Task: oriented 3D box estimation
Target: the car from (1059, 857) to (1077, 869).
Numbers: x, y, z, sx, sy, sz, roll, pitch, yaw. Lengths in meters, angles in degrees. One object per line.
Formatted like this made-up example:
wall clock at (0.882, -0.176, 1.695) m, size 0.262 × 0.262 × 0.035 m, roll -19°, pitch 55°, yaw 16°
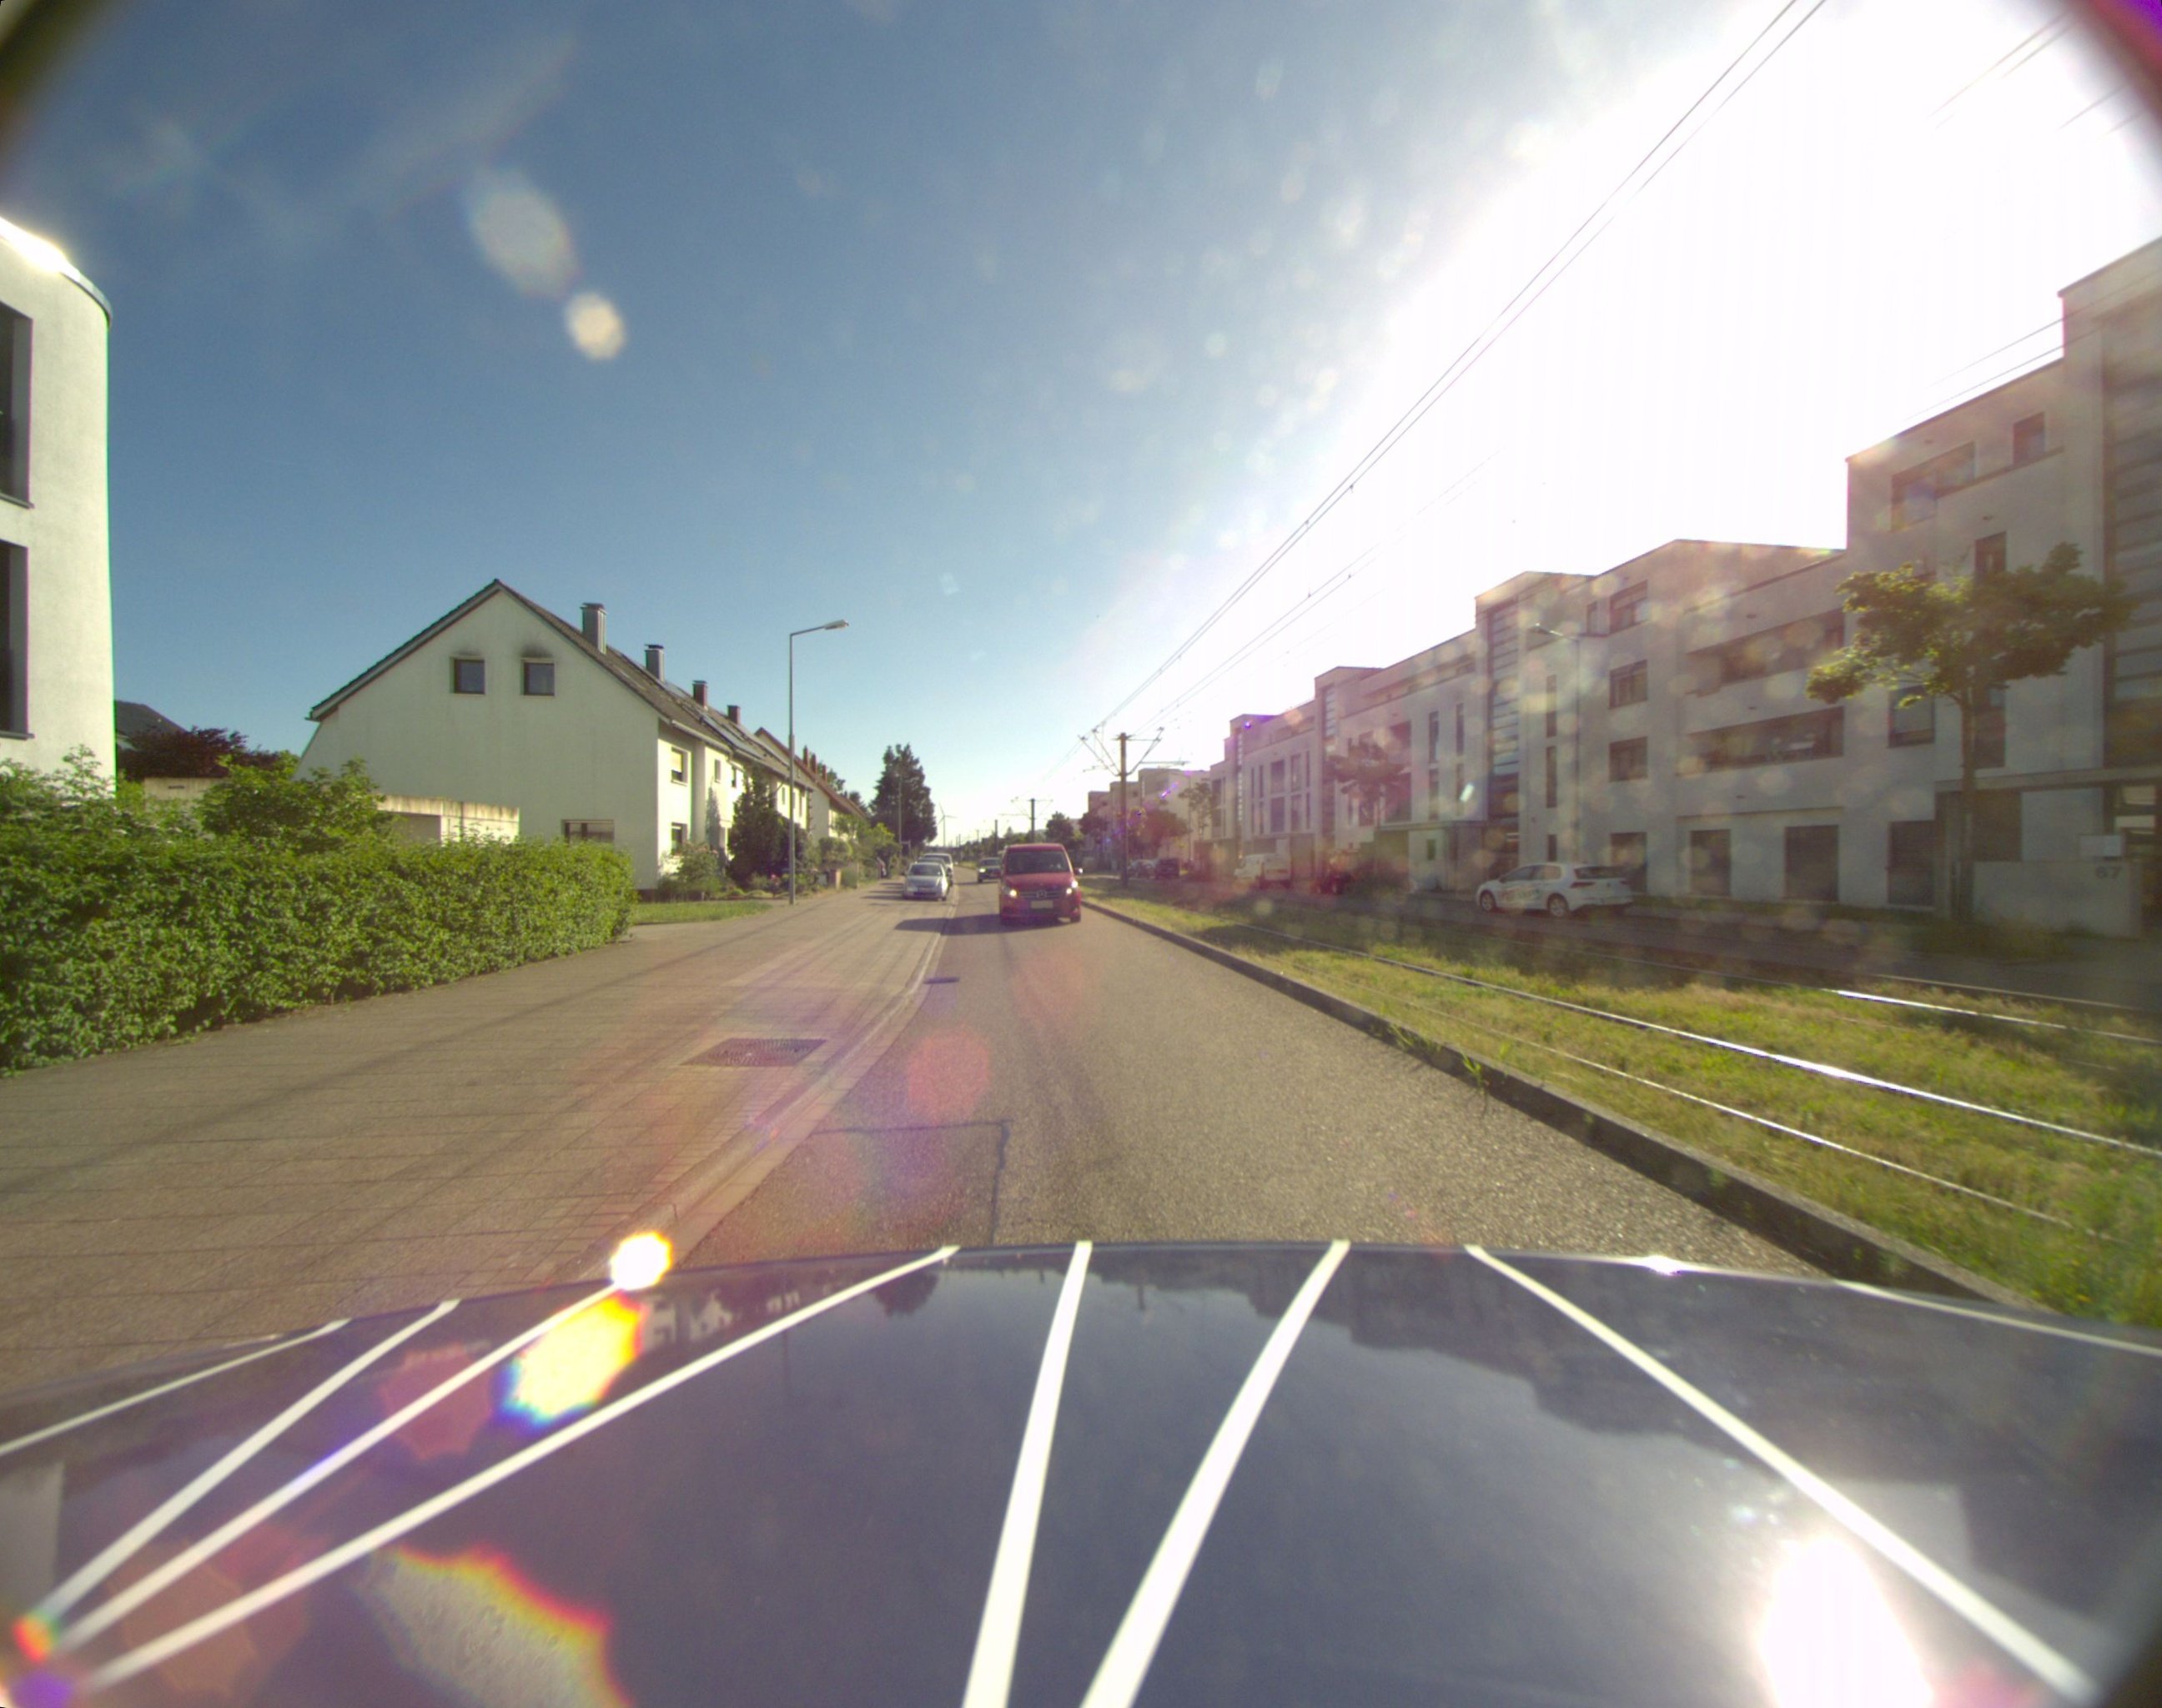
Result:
car at (-1.795, 1.270, 105.075) m, size 1.767 × 1.590 × 4.153 m, roll -2°, pitch 0°, yaw -10°

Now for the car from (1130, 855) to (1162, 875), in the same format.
car at (5.586, 0.944, 65.890) m, size 1.767 × 1.590 × 4.153 m, roll -2°, pitch 0°, yaw -10°

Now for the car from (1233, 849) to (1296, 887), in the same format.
car at (9.797, 0.726, 40.873) m, size 1.767 × 1.859 × 4.153 m, roll -2°, pitch 0°, yaw -10°

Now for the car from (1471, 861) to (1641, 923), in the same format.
car at (12.708, 0.946, 20.652) m, size 1.522 × 1.423 × 4.153 m, roll -2°, pitch 0°, yaw -10°

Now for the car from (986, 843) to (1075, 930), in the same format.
car at (-1.177, 0.751, 20.075) m, size 1.980 × 1.922 × 5.204 m, roll -2°, pitch 0°, yaw 0°

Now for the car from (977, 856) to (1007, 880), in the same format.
car at (-5.999, 0.901, 51.433) m, size 1.894 × 1.506 × 3.751 m, roll 2°, pitch 0°, yaw -6°

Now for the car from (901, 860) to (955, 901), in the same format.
car at (-6.016, 1.019, 30.162) m, size 1.701 × 1.466 × 4.011 m, roll 2°, pitch 0°, yaw -6°

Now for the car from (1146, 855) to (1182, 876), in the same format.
car at (6.539, 0.889, 60.326) m, size 1.767 × 1.590 × 4.153 m, roll -2°, pitch 0°, yaw -10°

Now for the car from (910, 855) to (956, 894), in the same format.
car at (-6.879, 0.911, 35.628) m, size 1.701 × 1.692 × 4.011 m, roll 2°, pitch 0°, yaw -6°

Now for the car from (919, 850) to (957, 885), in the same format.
car at (-8.434, 0.765, 45.083) m, size 1.894 × 1.951 × 4.011 m, roll 1°, pitch 0°, yaw -6°

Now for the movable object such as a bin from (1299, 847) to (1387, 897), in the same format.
movable object such as a bin at (11.156, 0.735, 32.675) m, size 1.767 × 1.926 × 4.153 m, roll -2°, pitch 0°, yaw -10°

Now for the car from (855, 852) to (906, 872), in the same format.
car at (-17.974, 0.715, 68.214) m, size 3.998 × 1.674 × 1.999 m, roll -2°, pitch 0°, yaw -4°
